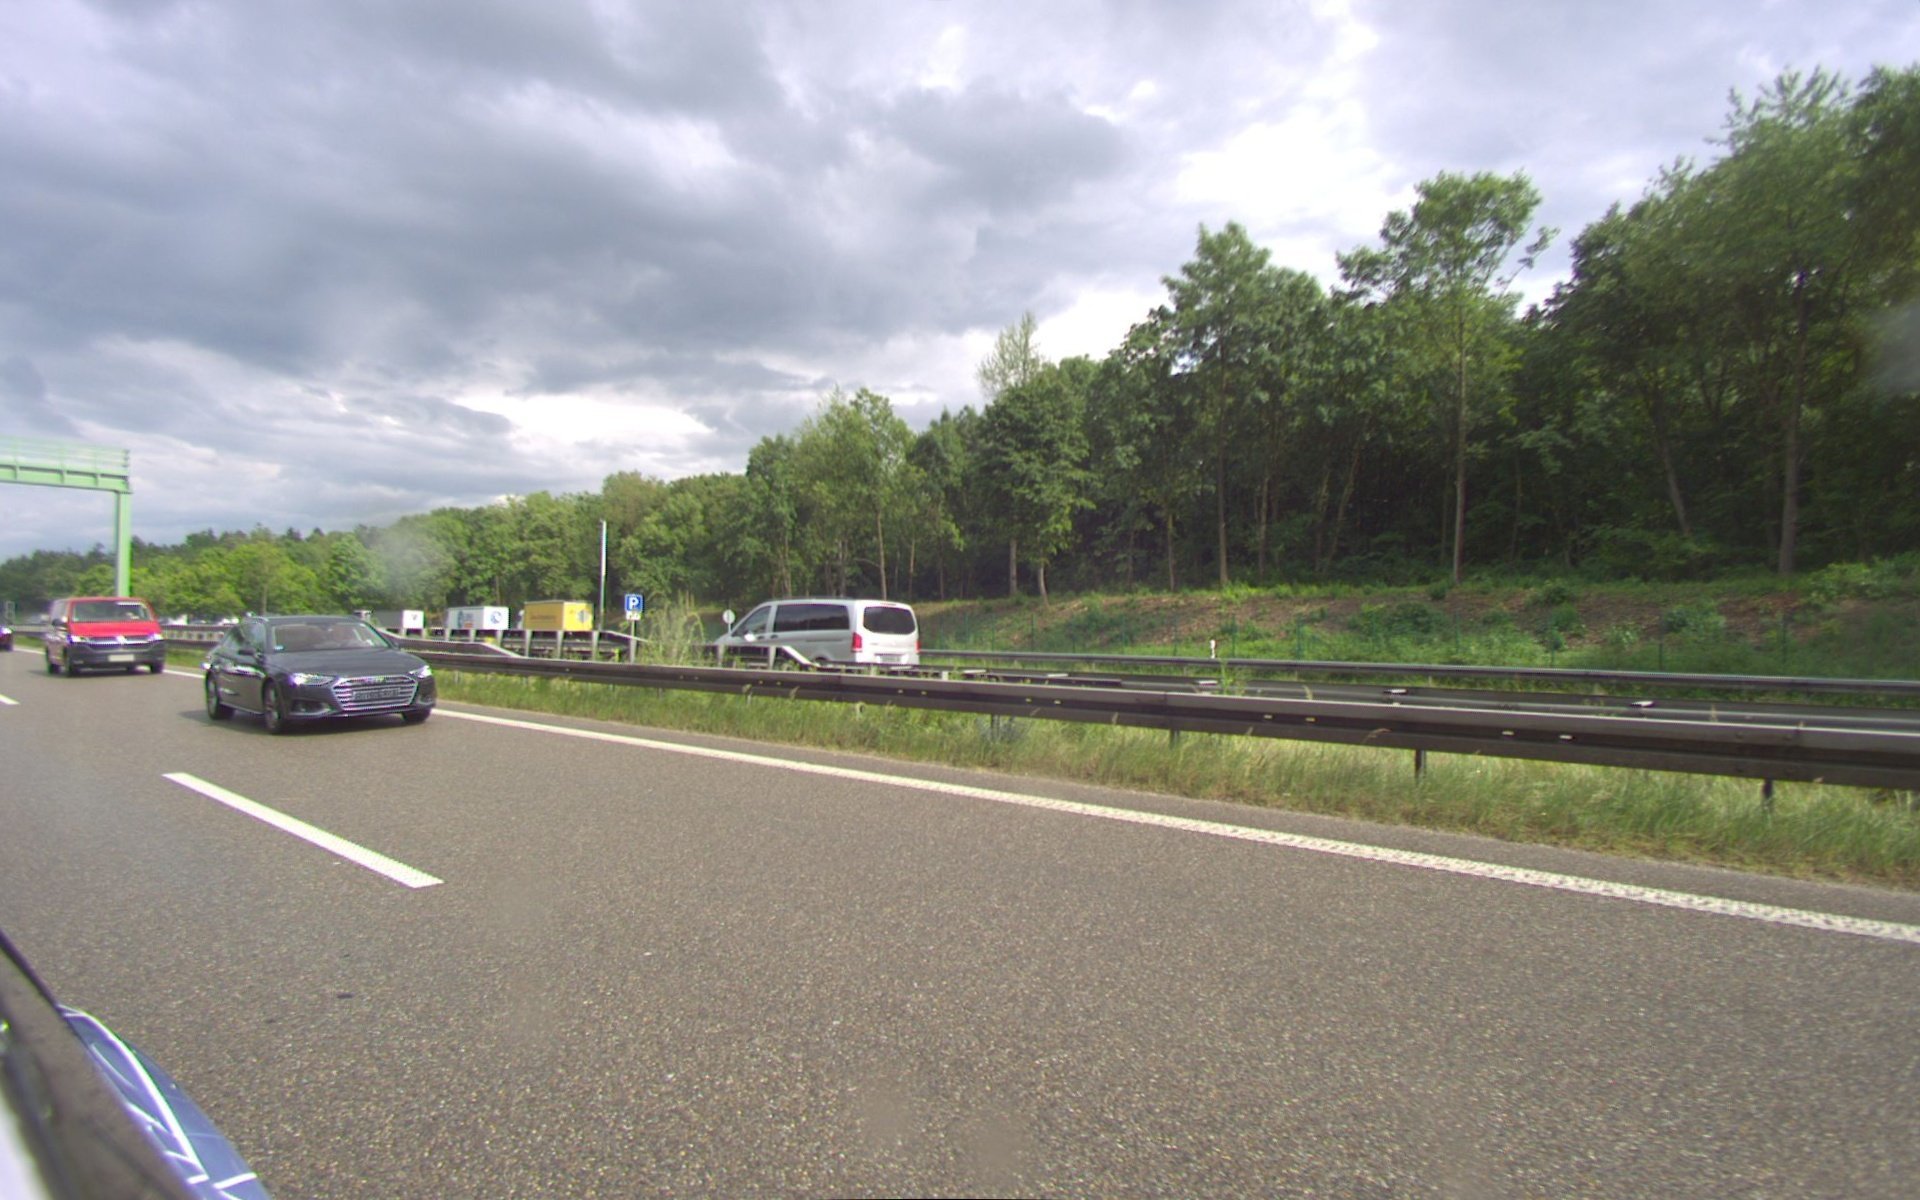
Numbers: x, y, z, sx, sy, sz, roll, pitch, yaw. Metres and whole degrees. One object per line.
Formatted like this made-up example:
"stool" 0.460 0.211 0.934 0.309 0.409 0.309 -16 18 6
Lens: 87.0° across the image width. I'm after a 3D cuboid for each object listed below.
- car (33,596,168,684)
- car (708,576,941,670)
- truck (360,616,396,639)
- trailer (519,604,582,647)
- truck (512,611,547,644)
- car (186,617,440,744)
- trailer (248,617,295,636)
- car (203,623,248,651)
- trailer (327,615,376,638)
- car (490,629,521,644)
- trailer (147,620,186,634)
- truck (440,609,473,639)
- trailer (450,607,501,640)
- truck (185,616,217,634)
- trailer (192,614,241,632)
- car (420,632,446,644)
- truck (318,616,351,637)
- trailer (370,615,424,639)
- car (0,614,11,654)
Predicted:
"car" -21.716 0.954 25.503 4.747 2.000 1.871 -1 0 41
"car" -2.863 0.473 20.576 4.965 1.692 1.888 -1 -2 41
"truck" -84.120 3.943 146.262 5.597 3.208 3.009 -1 -3 43
"trailer" -37.972 2.271 93.541 1.967 3.723 13.689 0 0 -37
"truck" -42.337 2.630 99.441 1.950 3.121 5.087 -1 0 -37
"car" -8.842 0.959 13.663 4.465 1.422 1.701 -1 0 41
"trailer" -119.649 4.588 175.784 12.632 3.296 3.153 -1 -3 39
"car" -58.307 2.905 80.320 3.998 2.029 1.973 -1 0 41
"trailer" -92.636 4.036 153.922 12.641 3.296 2.577 -1 -3 41
"car" -48.587 3.909 108.185 1.871 1.514 4.005 2 -2 -41
"trailer" -157.556 5.333 200.935 9.839 2.594 2.511 -1 -1 30
"truck" -60.776 2.910 122.204 2.136 3.648 5.585 2 -2 -41
"trailer" -56.083 2.758 116.845 2.156 3.627 11.735 2 -2 -41
"truck" -145.934 4.750 194.475 6.082 3.280 3.047 0 -3 34
"trailer" -139.933 4.278 190.374 13.375 3.296 3.050 -1 -2 34
"car" -67.721 4.879 129.983 1.873 1.514 4.002 2 -3 -45
"truck" -98.071 4.122 158.650 6.532 3.275 2.548 -1 -2 41
"trailer" -78.810 3.819 141.471 12.174 3.217 2.986 -1 -3 43
"car" -41.685 1.439 42.784 4.292 1.682 1.871 -1 -1 41
